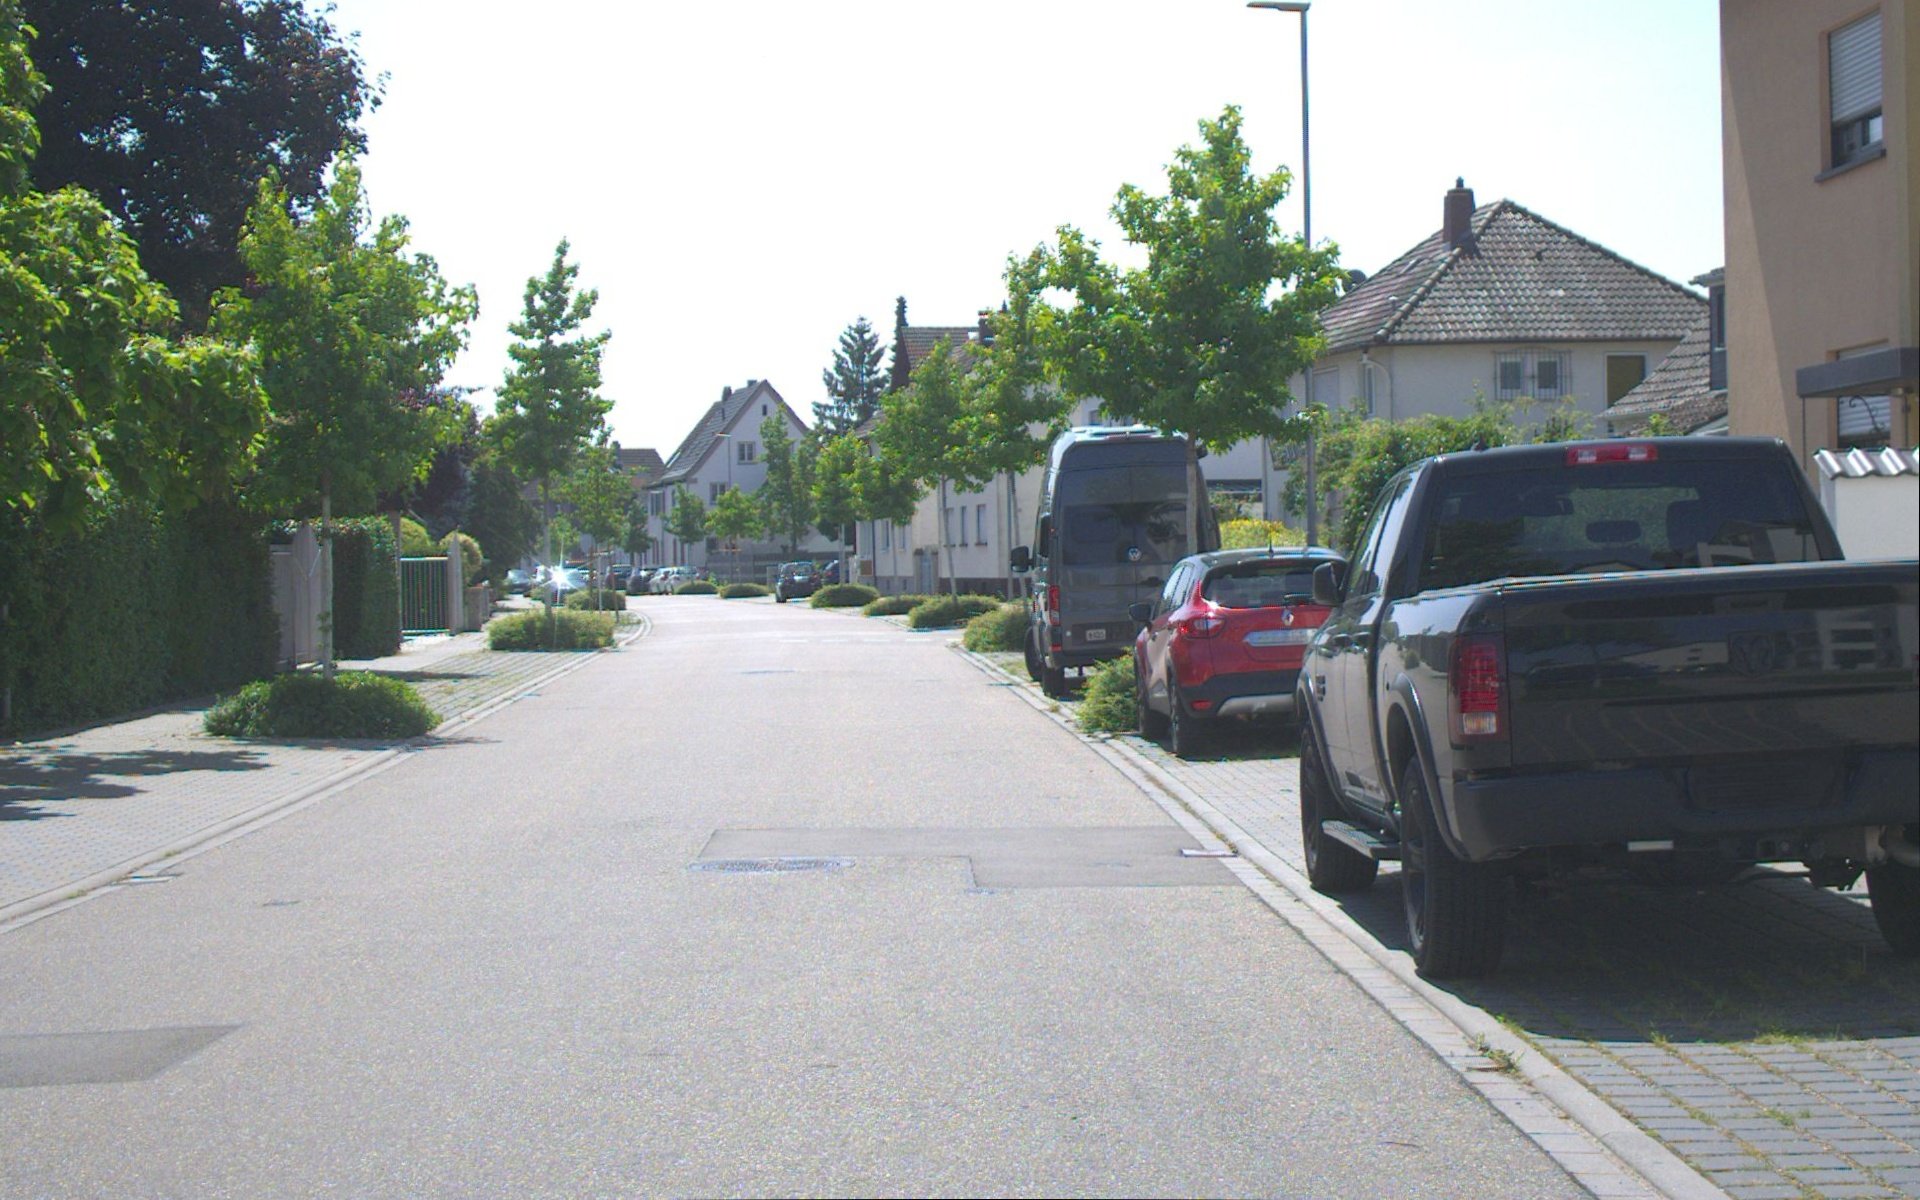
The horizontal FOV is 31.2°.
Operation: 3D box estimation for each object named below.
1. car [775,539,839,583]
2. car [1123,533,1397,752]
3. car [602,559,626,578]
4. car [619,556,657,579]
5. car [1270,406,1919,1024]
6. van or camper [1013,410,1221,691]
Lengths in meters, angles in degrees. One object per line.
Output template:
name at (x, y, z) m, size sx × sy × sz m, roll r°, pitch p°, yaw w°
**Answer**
car at (-5.932, -1.506, 132.623) m, size 1.993 × 1.568 × 4.001 m, roll -2°, pitch 1°, yaw -8°
car at (2.346, 0.296, 27.712) m, size 1.670 × 1.590 × 3.556 m, roll -2°, pitch 1°, yaw -3°
car at (-20.367, -1.857, 202.295) m, size 1.188 × 1.067 × 3.054 m, roll -2°, pitch 1°, yaw -10°
car at (-18.117, -1.824, 193.280) m, size 1.663 × 1.246 × 3.933 m, roll -2°, pitch 1°, yaw -12°
car at (2.541, 0.321, 13.777) m, size 1.993 × 1.940 × 5.215 m, roll -3°, pitch 1°, yaw -1°
van or camper at (1.698, -0.560, 38.542) m, size 1.993 × 2.931 × 4.000 m, roll -2°, pitch 1°, yaw -1°
